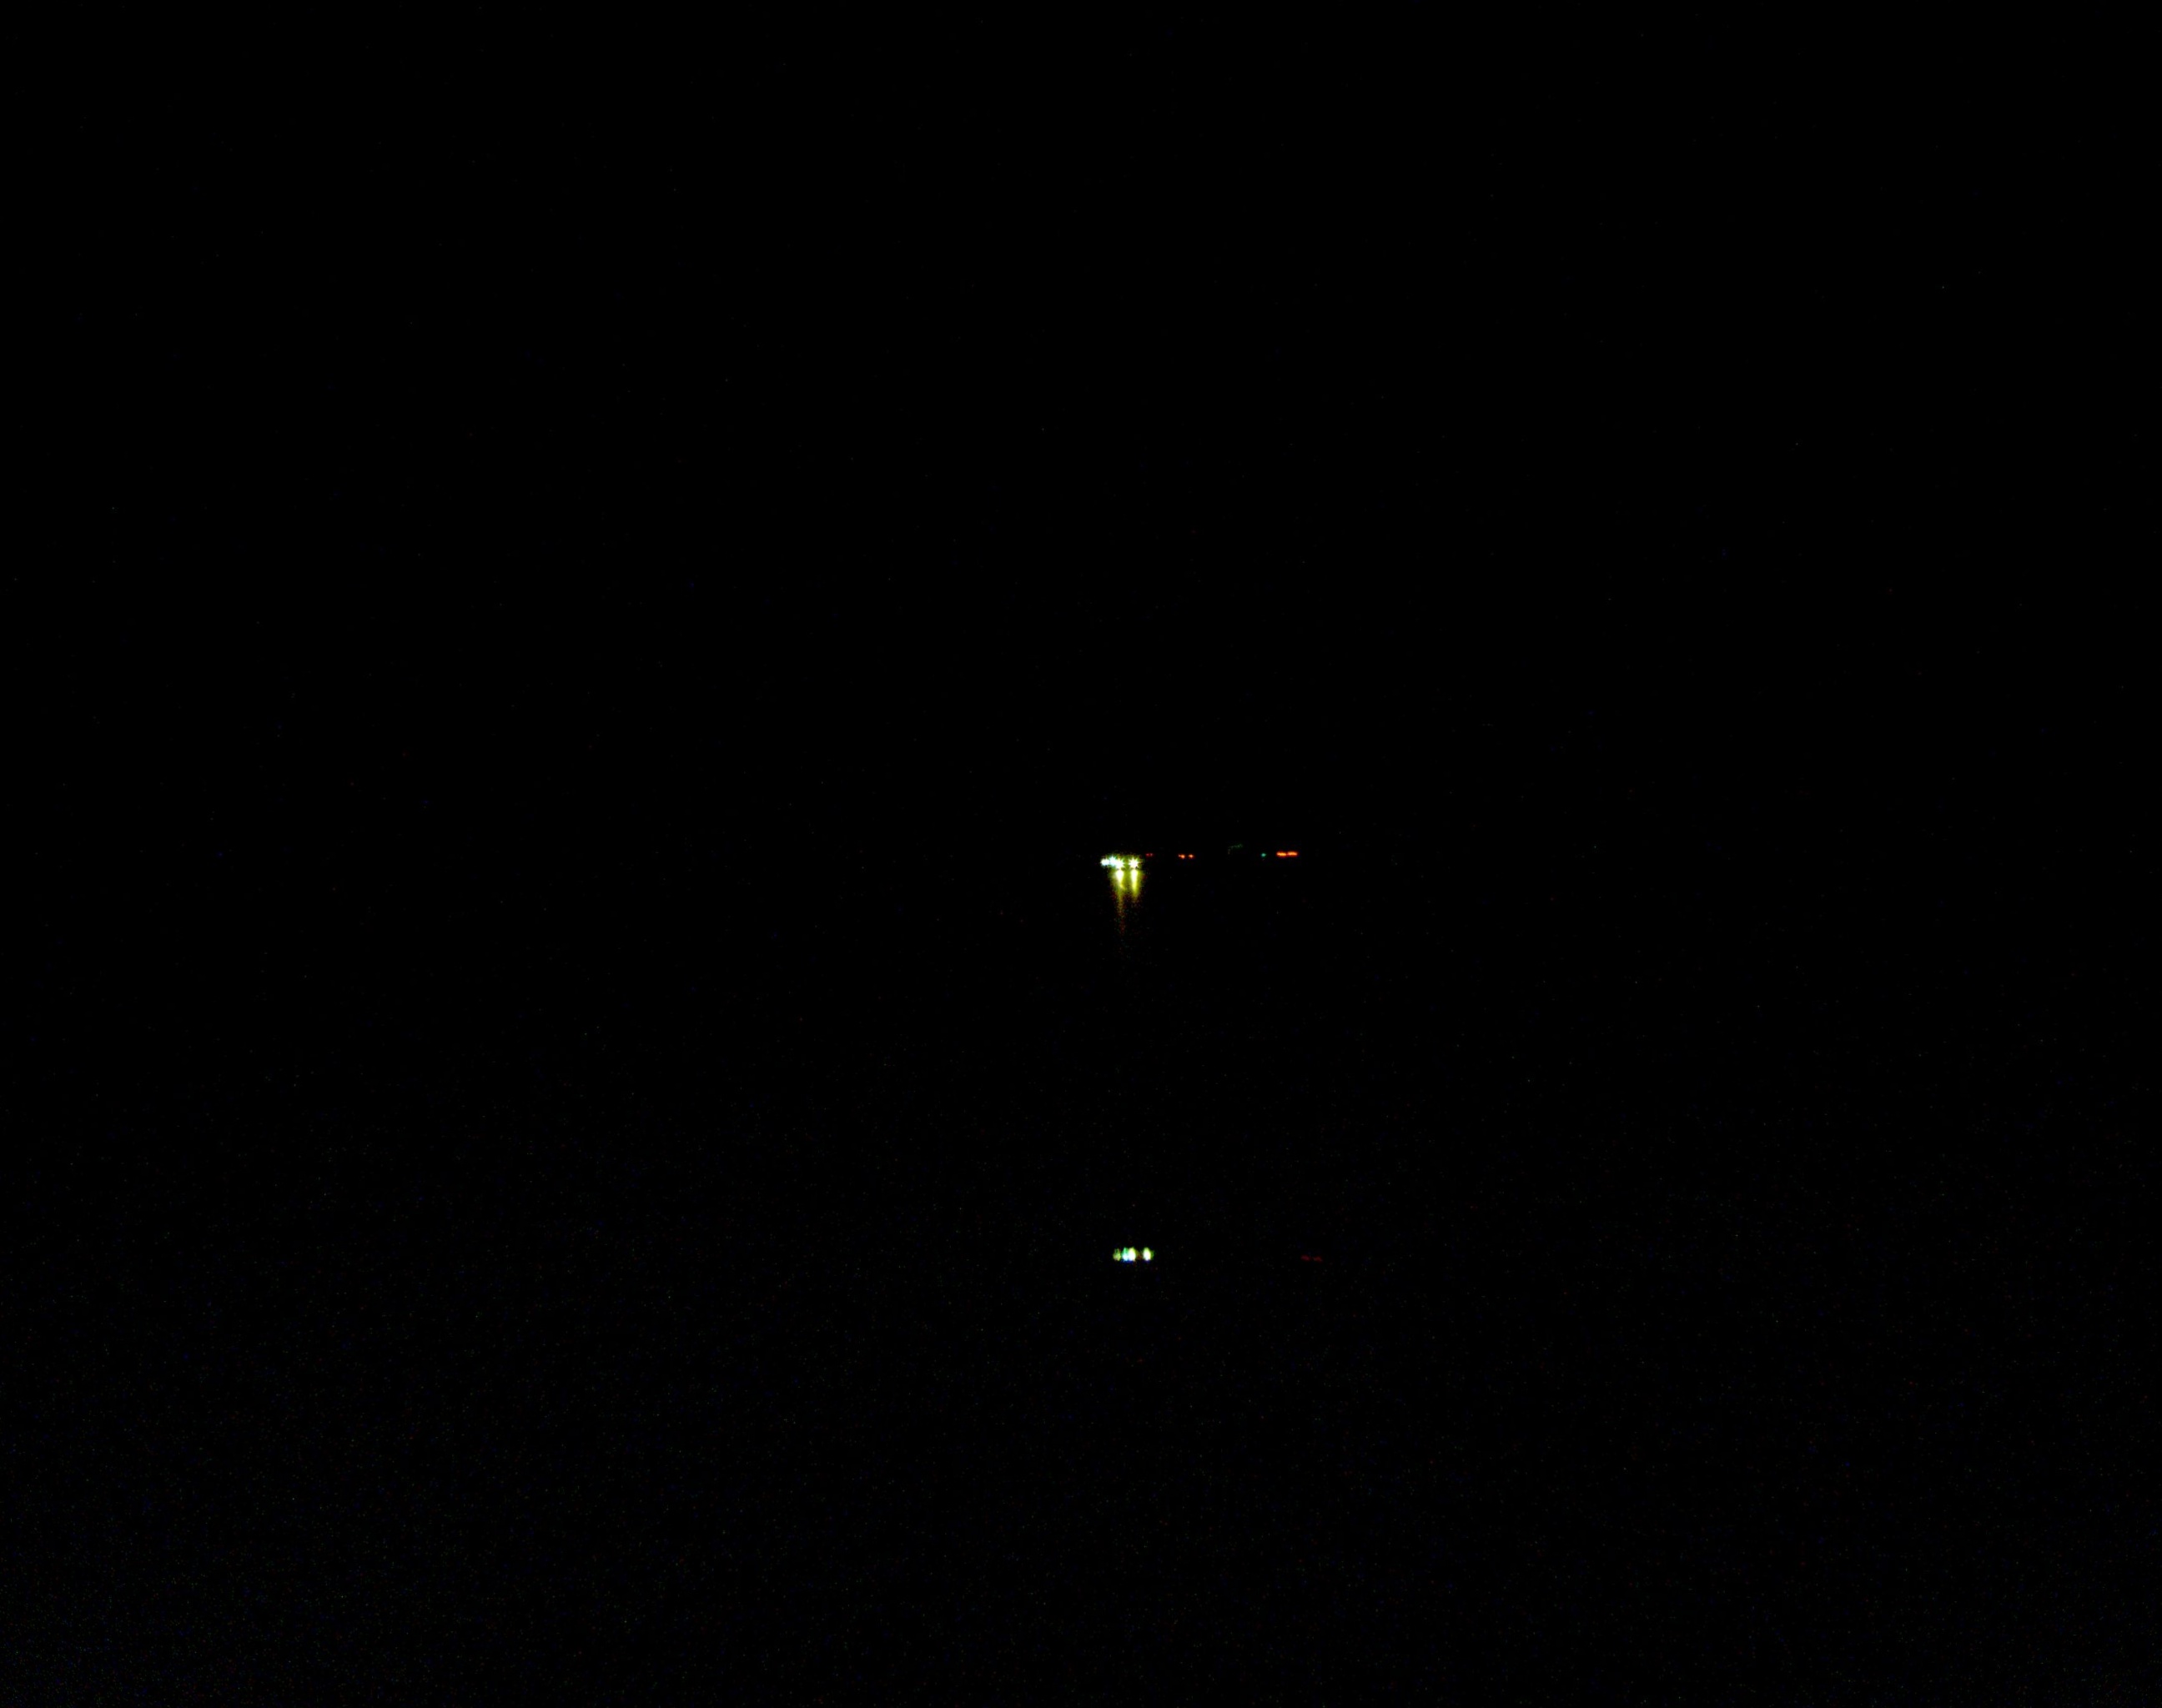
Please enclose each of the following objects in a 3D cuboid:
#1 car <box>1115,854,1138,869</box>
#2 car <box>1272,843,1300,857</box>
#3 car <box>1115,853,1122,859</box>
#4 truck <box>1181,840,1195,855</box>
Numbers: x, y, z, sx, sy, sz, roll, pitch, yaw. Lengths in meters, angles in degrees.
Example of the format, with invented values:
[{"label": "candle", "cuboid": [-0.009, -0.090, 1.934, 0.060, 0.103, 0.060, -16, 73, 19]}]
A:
[{"label": "car", "cuboid": [4.767, 0.774, 80.539, 1.999, 1.422, 4.329, -3, -1, -1]}, {"label": "car", "cuboid": [23.483, -0.454, 87.104, 1.999, 1.500, 3.999, -3, 0, -2]}, {"label": "car", "cuboid": [11.459, 0.503, 233.334, 1.999, 1.724, 4.225, -3, -1, -1]}, {"label": "truck", "cuboid": [27.924, -1.618, 198.797, 2.525, 3.829, 9.066, -3, 0, 3]}]
